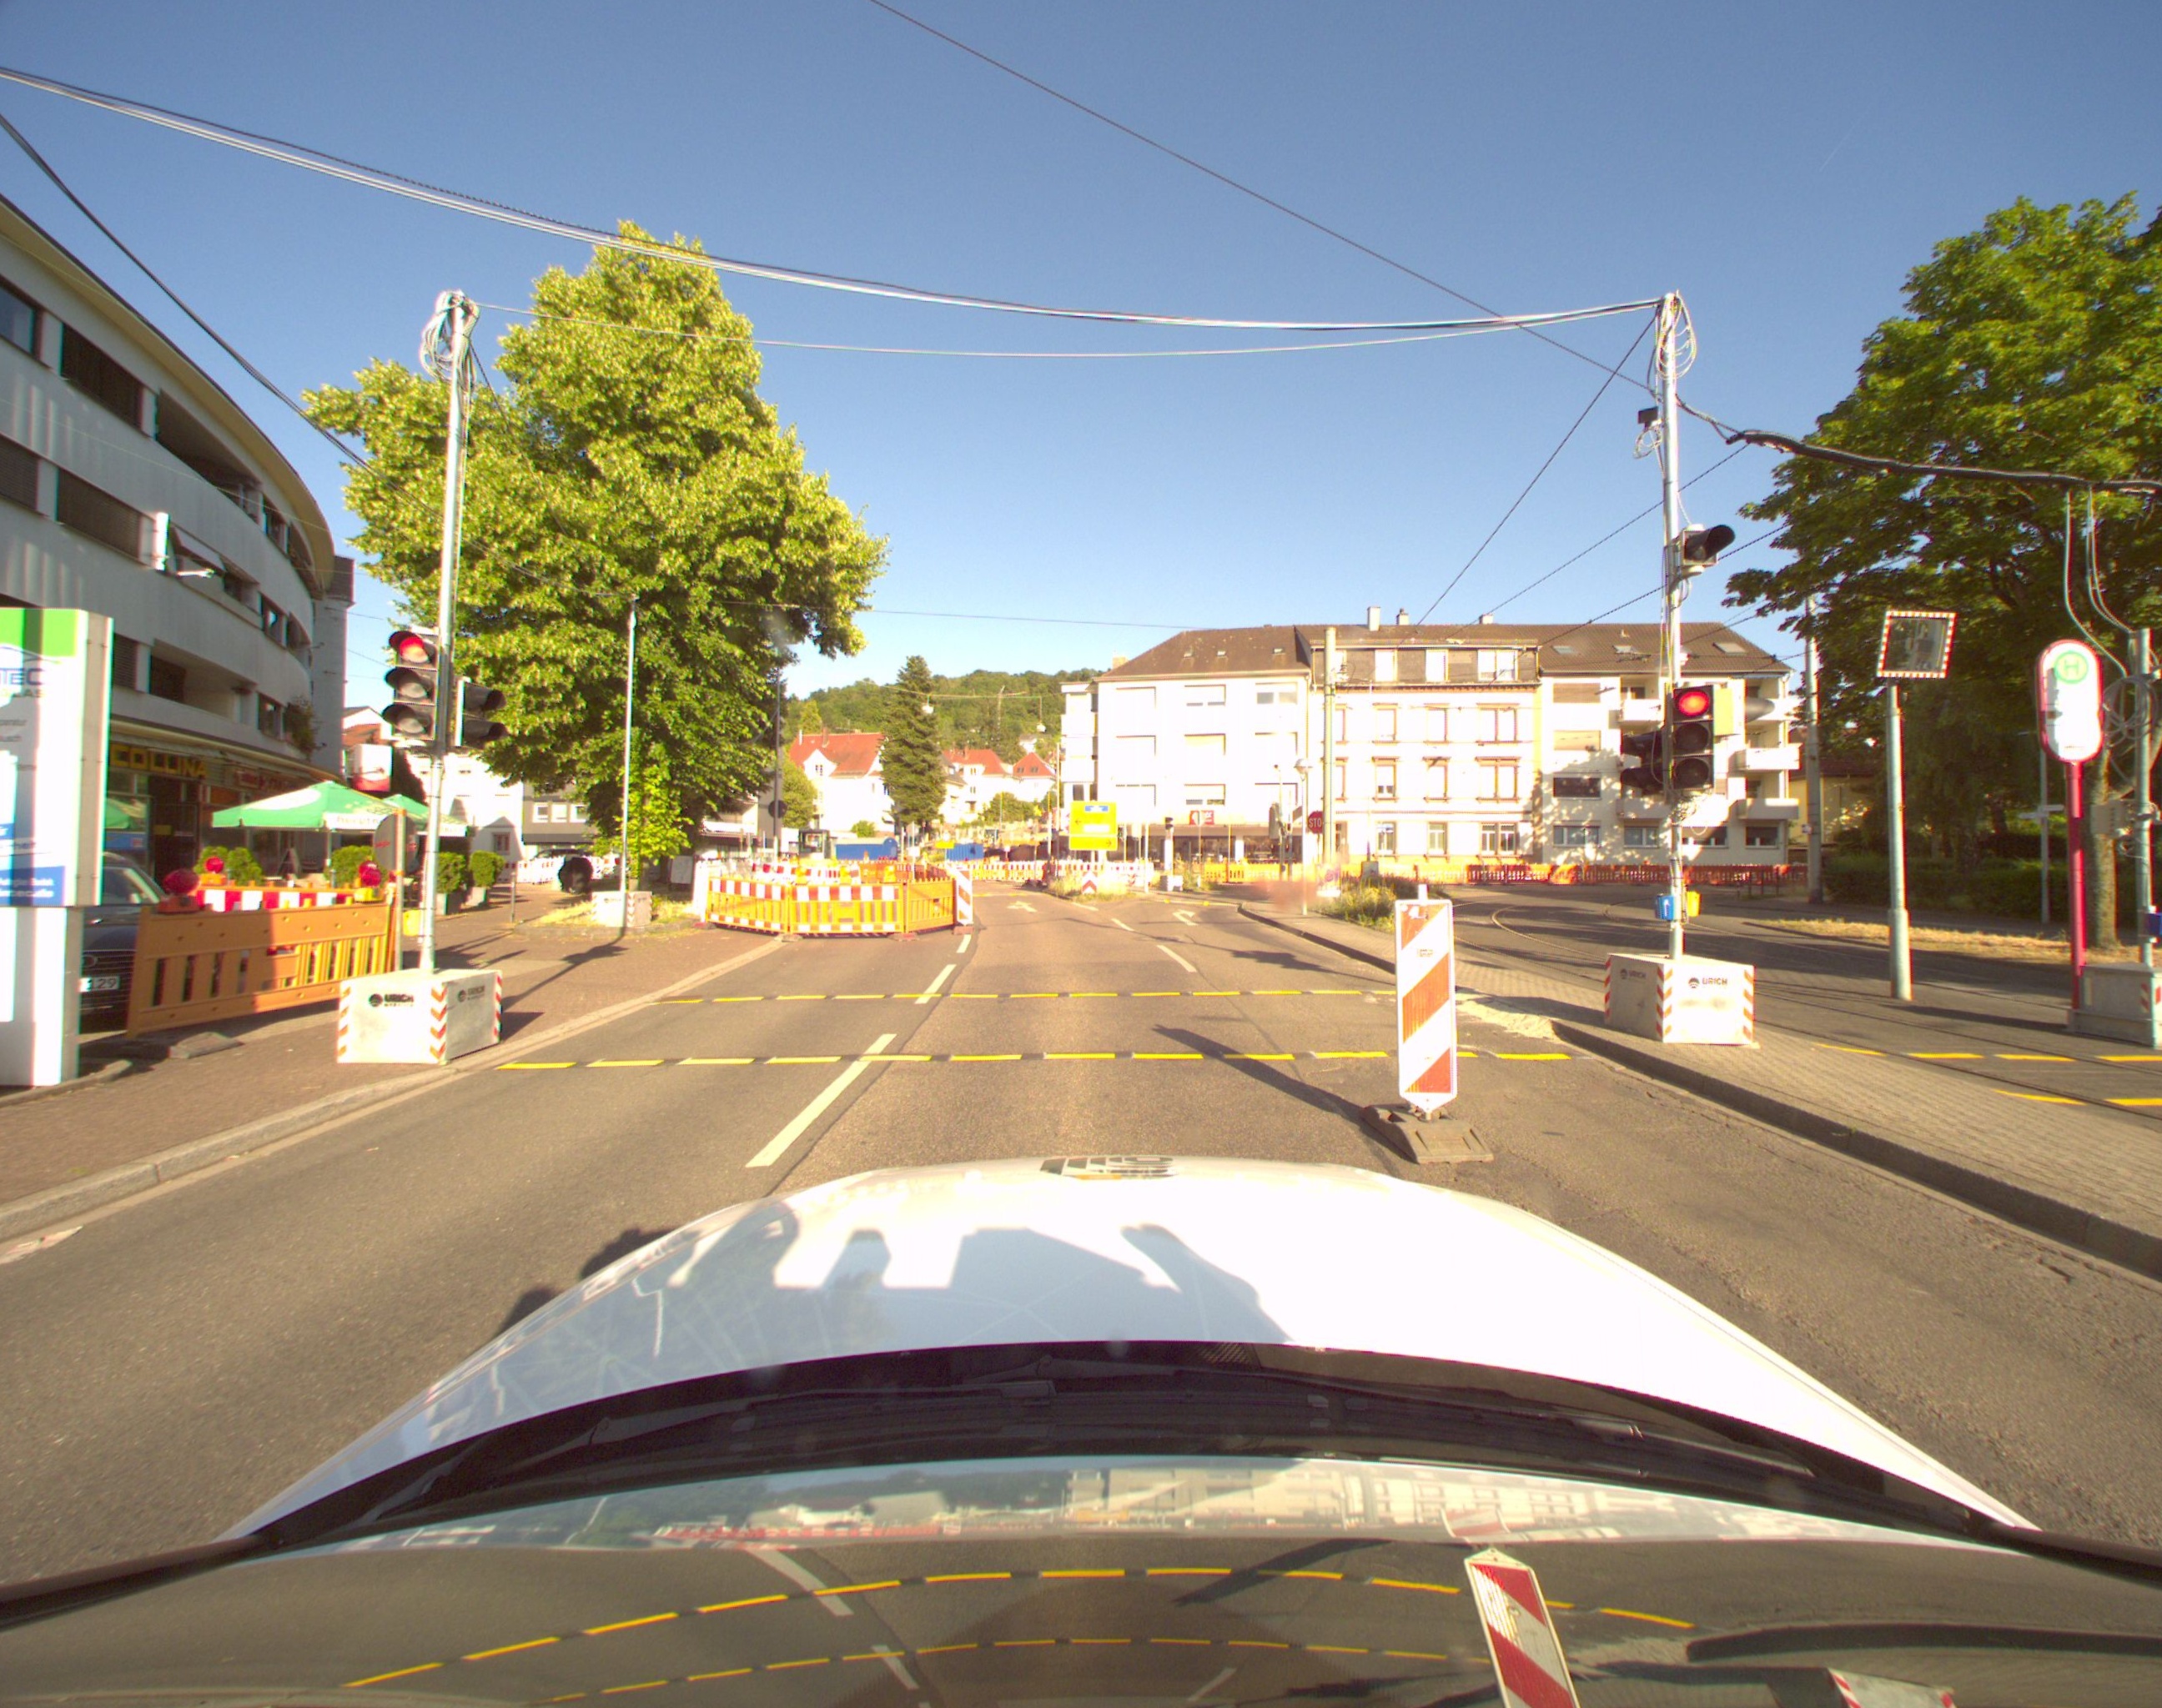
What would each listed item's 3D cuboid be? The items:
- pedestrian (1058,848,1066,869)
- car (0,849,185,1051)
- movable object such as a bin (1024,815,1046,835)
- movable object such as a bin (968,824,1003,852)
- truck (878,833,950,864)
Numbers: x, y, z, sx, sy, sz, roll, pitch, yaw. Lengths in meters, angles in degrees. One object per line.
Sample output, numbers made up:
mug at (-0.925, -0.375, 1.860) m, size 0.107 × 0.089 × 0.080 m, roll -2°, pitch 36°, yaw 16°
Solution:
pedestrian at (-1.518, 0.366, 66.171) m, size 0.638 × 1.760 × 0.718 m, roll 0°, pitch 0°, yaw 2°
car at (-9.604, 0.711, 7.529) m, size 4.246 × 1.454 × 1.660 m, roll 1°, pitch 0°, yaw 43°
movable object such as a bin at (-6.435, -4.038, 114.189) m, size 2.176 × 2.690 × 4.013 m, roll 0°, pitch 0°, yaw 12°
movable object such as a bin at (-9.276, -1.538, 79.691) m, size 2.176 × 2.690 × 4.013 m, roll 0°, pitch 0°, yaw 12°
truck at (-13.992, -0.439, 69.171) m, size 2.340 × 2.416 × 9.184 m, roll 0°, pitch 0°, yaw 13°
